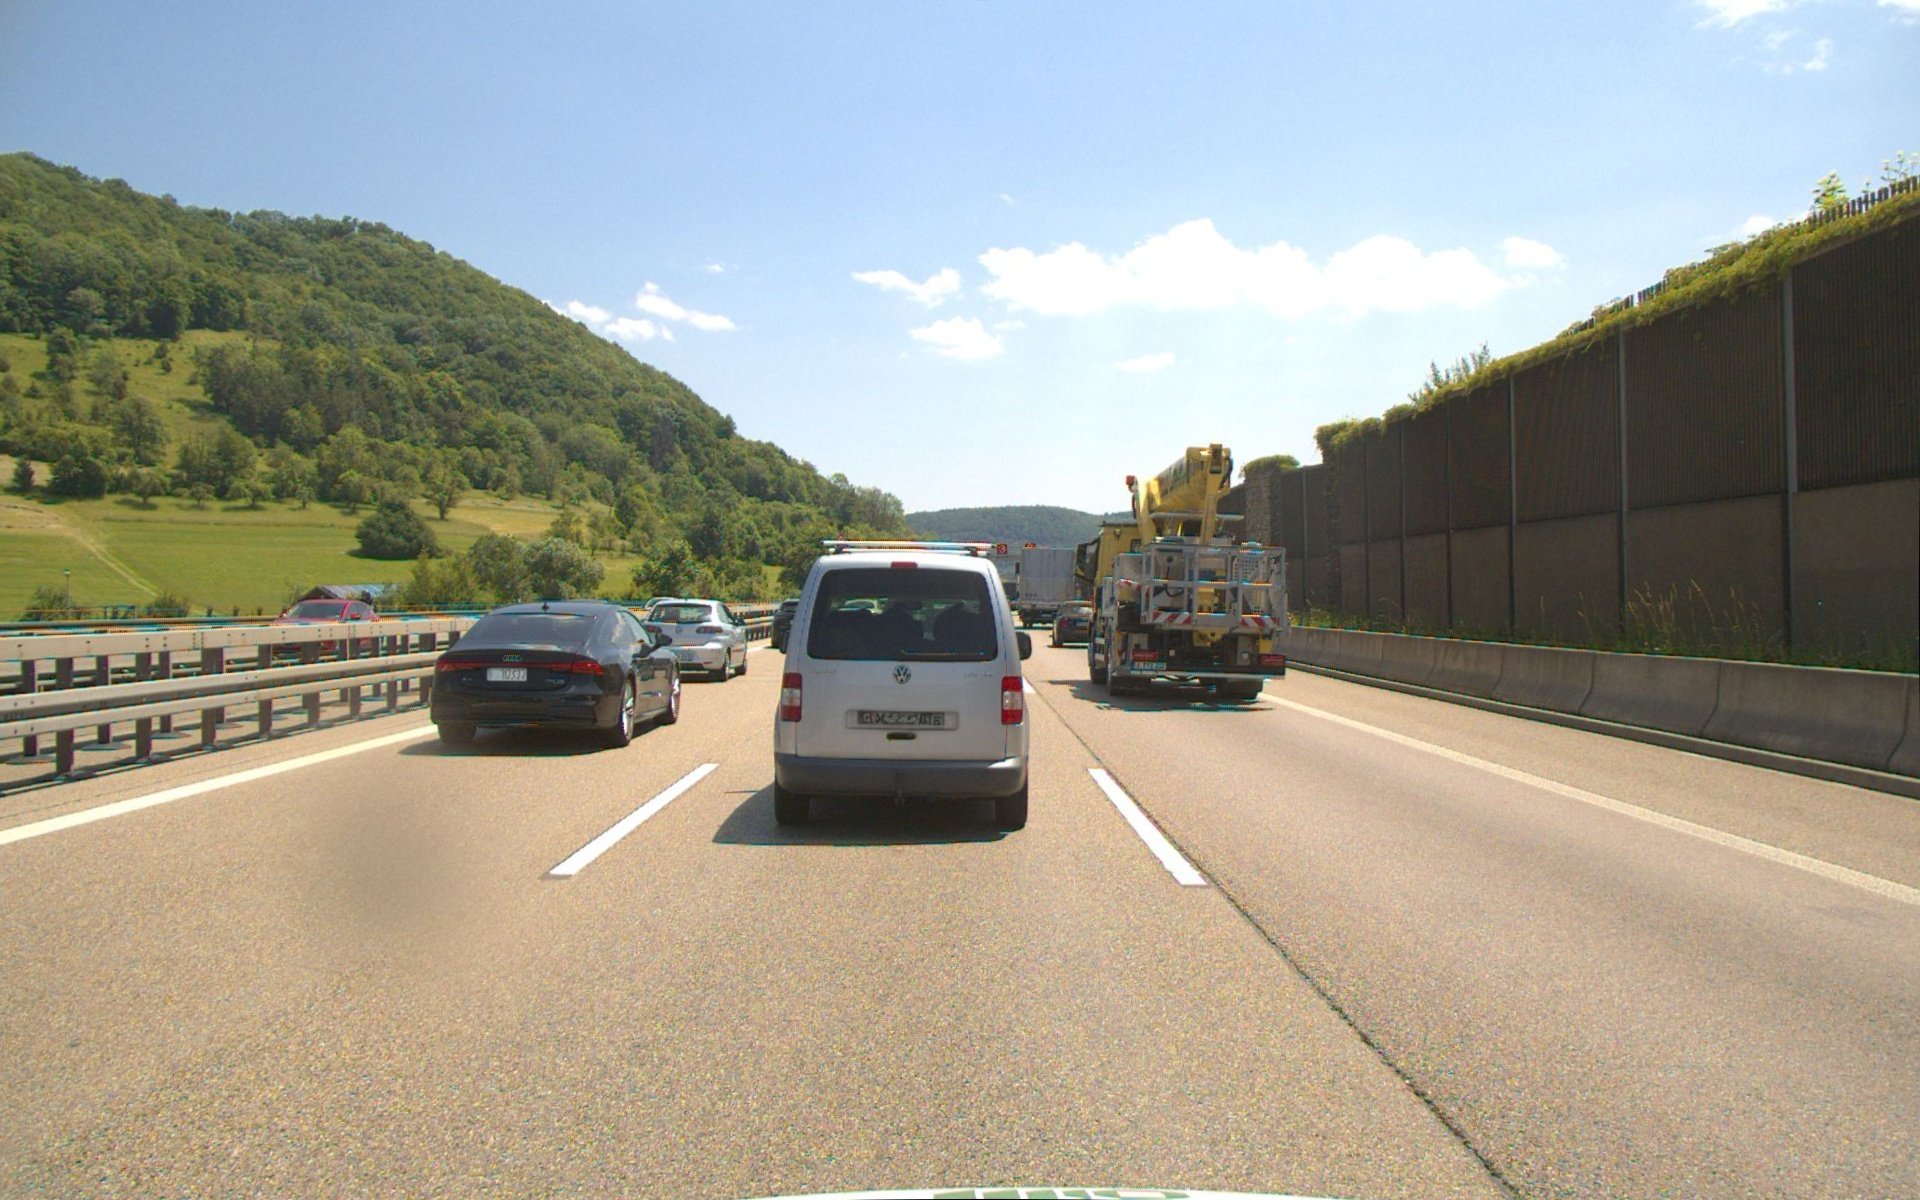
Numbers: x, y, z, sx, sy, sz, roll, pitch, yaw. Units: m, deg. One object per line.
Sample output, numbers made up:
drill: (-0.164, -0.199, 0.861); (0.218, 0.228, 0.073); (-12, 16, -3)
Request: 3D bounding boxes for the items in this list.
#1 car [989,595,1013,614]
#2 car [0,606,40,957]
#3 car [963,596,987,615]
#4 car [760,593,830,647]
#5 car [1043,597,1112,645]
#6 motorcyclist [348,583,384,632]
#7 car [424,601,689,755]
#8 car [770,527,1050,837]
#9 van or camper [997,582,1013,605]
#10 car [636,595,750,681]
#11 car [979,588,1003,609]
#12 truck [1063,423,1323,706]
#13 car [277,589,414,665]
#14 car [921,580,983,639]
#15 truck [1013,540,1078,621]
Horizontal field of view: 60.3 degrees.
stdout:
car: (4.121, 0.484, 168.045); (2.072, 1.859, 3.997); (1, 0, -4)
car: (-4.683, 0.733, 4.933); (1.654, 1.413, 4.000); (0, 0, 0)
car: (1.475, 0.537, 163.531); (2.072, 1.859, 3.997); (1, 0, -4)
car: (-4.861, 0.575, 49.234); (1.887, 1.525, 3.997); (1, 0, -4)
car: (3.740, 0.648, 53.276); (1.751, 1.484, 3.768); (0, 0, -4)
motorcyclist: (-18.775, 0.227, 52.282); (0.827, 1.527, 0.838); (0, 0, -2)
car: (-4.146, 0.727, 17.813); (1.764, 1.415, 4.967); (0, 0, -2)
car: (-0.426, 0.502, 12.209); (1.721, 1.900, 3.997); (0, 0, -4)
van or camper: (6.071, -0.902, 222.863); (1.953, 3.005, 5.422); (1, 0, -1)
car: (-4.823, 0.647, 30.266); (1.662, 1.470, 3.859); (0, 0, -3)
car: (2.718, -0.087, 144.217); (1.953, 1.779, 3.999); (1, 0, -1)
truck: (3.593, -0.510, 27.891); (2.650, 4.011, 8.715); (0, 0, -4)
car: (-15.739, 0.676, 42.590); (1.953, 1.823, 4.275); (1, 0, -1)
car: (-0.313, 0.330, 58.717); (1.954, 2.010, 3.997); (0, 0, -4)
truck: (4.254, -0.912, 83.885); (2.880, 3.890, 8.236); (1, 0, 0)
